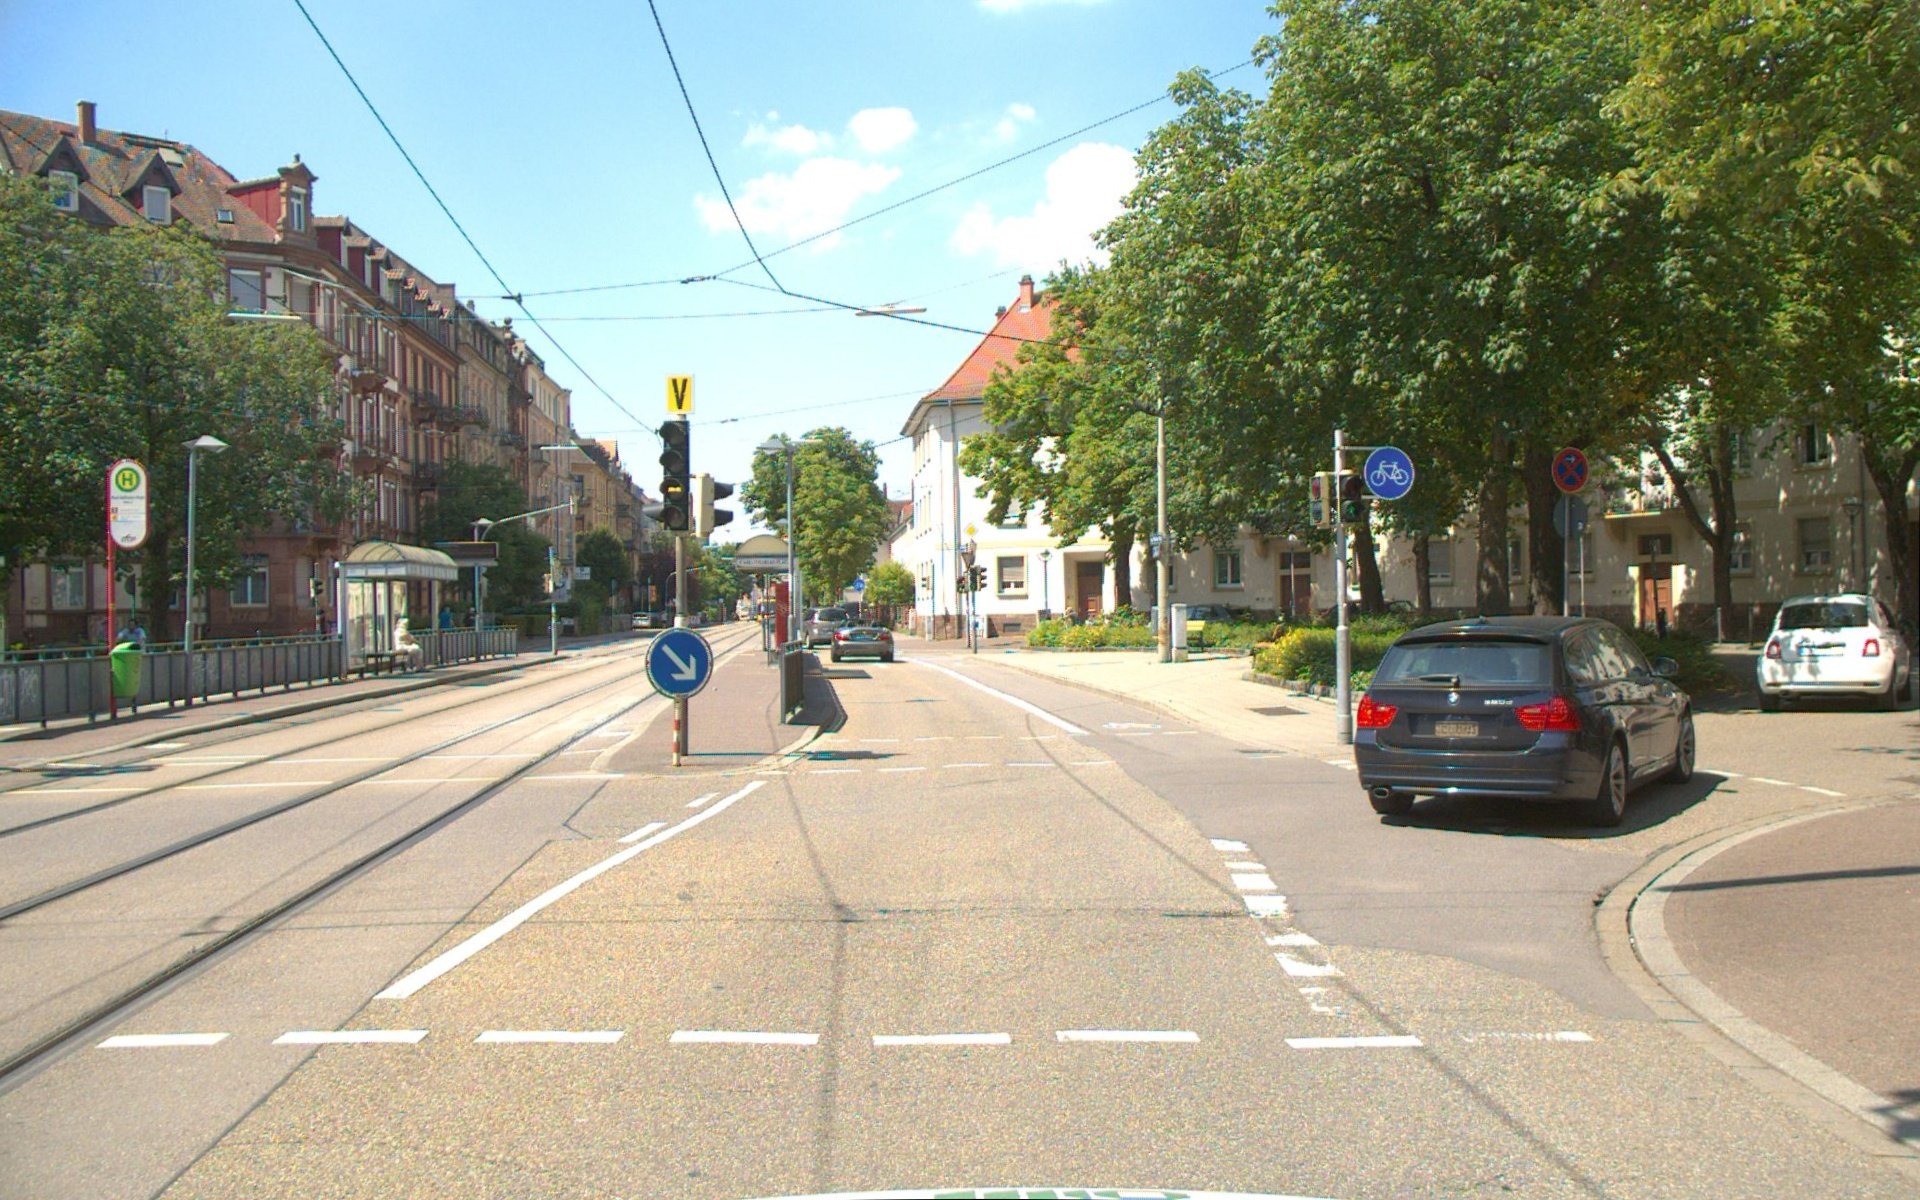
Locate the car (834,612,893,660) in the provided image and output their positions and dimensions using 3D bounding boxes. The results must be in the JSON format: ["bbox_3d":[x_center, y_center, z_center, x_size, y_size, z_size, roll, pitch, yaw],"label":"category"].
[{"bbox_3d":[-2.906,1.039,49.295,1.658,1.346,3.817,-1,0,-5],"label":"car"}]

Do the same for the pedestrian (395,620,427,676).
[{"bbox_3d":[-12.729,1.102,38.343,0.603,1.264,0.626,-1,-1,-12],"label":"pedestrian"}]

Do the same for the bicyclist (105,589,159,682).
[{"bbox_3d":[-17.249,0.736,34.463,0.708,1.903,0.824,-1,0,-5],"label":"bicyclist"}]

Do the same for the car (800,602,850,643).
[{"bbox_3d":[-5.395,0.886,65.727,1.660,1.540,3.813,-1,0,-9],"label":"car"}]

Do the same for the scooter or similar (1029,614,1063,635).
[{"bbox_3d":[3.550,1.023,68.491,1.288,0.852,0.525,-1,-1,-11],"label":"scooter or similar"}]

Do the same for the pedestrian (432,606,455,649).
[{"bbox_3d":[-22.581,1.189,72.306,0.625,1.843,0.740,-1,0,20],"label":"pedestrian"}]

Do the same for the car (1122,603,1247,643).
[{"bbox_3d":[7.659,0.794,56.527,3.912,1.265,1.621,-1,0,30],"label":"car"}]

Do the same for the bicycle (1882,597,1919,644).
[{"bbox_3d":[23.315,0.473,39.657,2.166,1.077,0.557,-1,0,-5],"label":"bicycle"}]

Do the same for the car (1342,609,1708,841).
[{"bbox_3d":[4.550,0.820,12.834,1.692,1.434,4.552,1,0,32],"label":"car"}]

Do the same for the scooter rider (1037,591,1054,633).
[{"bbox_3d":[3.530,0.505,68.496,0.580,1.716,0.527,-1,0,-11],"label":"scooter rider"}]

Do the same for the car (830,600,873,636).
[{"bbox_3d":[-5.884,0.964,89.243,1.957,1.881,3.991,-1,0,-9],"label":"car"}]

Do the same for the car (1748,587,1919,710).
[{"bbox_3d":[11.996,0.604,22.598,1.656,1.510,3.672,-1,0,34],"label":"car"}]

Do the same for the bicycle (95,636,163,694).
[{"bbox_3d":[-17.248,1.336,34.359,0.715,1.121,1.713,-1,0,-7],"label":"bicycle"}]

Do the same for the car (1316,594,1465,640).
[{"bbox_3d":[13.326,0.538,51.397,1.774,1.351,4.280,-1,0,-38],"label":"car"}]

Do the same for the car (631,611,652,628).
[{"bbox_3d":[-31.142,1.930,161.569,1.757,1.614,3.985,0,-1,-14],"label":"car"}]
